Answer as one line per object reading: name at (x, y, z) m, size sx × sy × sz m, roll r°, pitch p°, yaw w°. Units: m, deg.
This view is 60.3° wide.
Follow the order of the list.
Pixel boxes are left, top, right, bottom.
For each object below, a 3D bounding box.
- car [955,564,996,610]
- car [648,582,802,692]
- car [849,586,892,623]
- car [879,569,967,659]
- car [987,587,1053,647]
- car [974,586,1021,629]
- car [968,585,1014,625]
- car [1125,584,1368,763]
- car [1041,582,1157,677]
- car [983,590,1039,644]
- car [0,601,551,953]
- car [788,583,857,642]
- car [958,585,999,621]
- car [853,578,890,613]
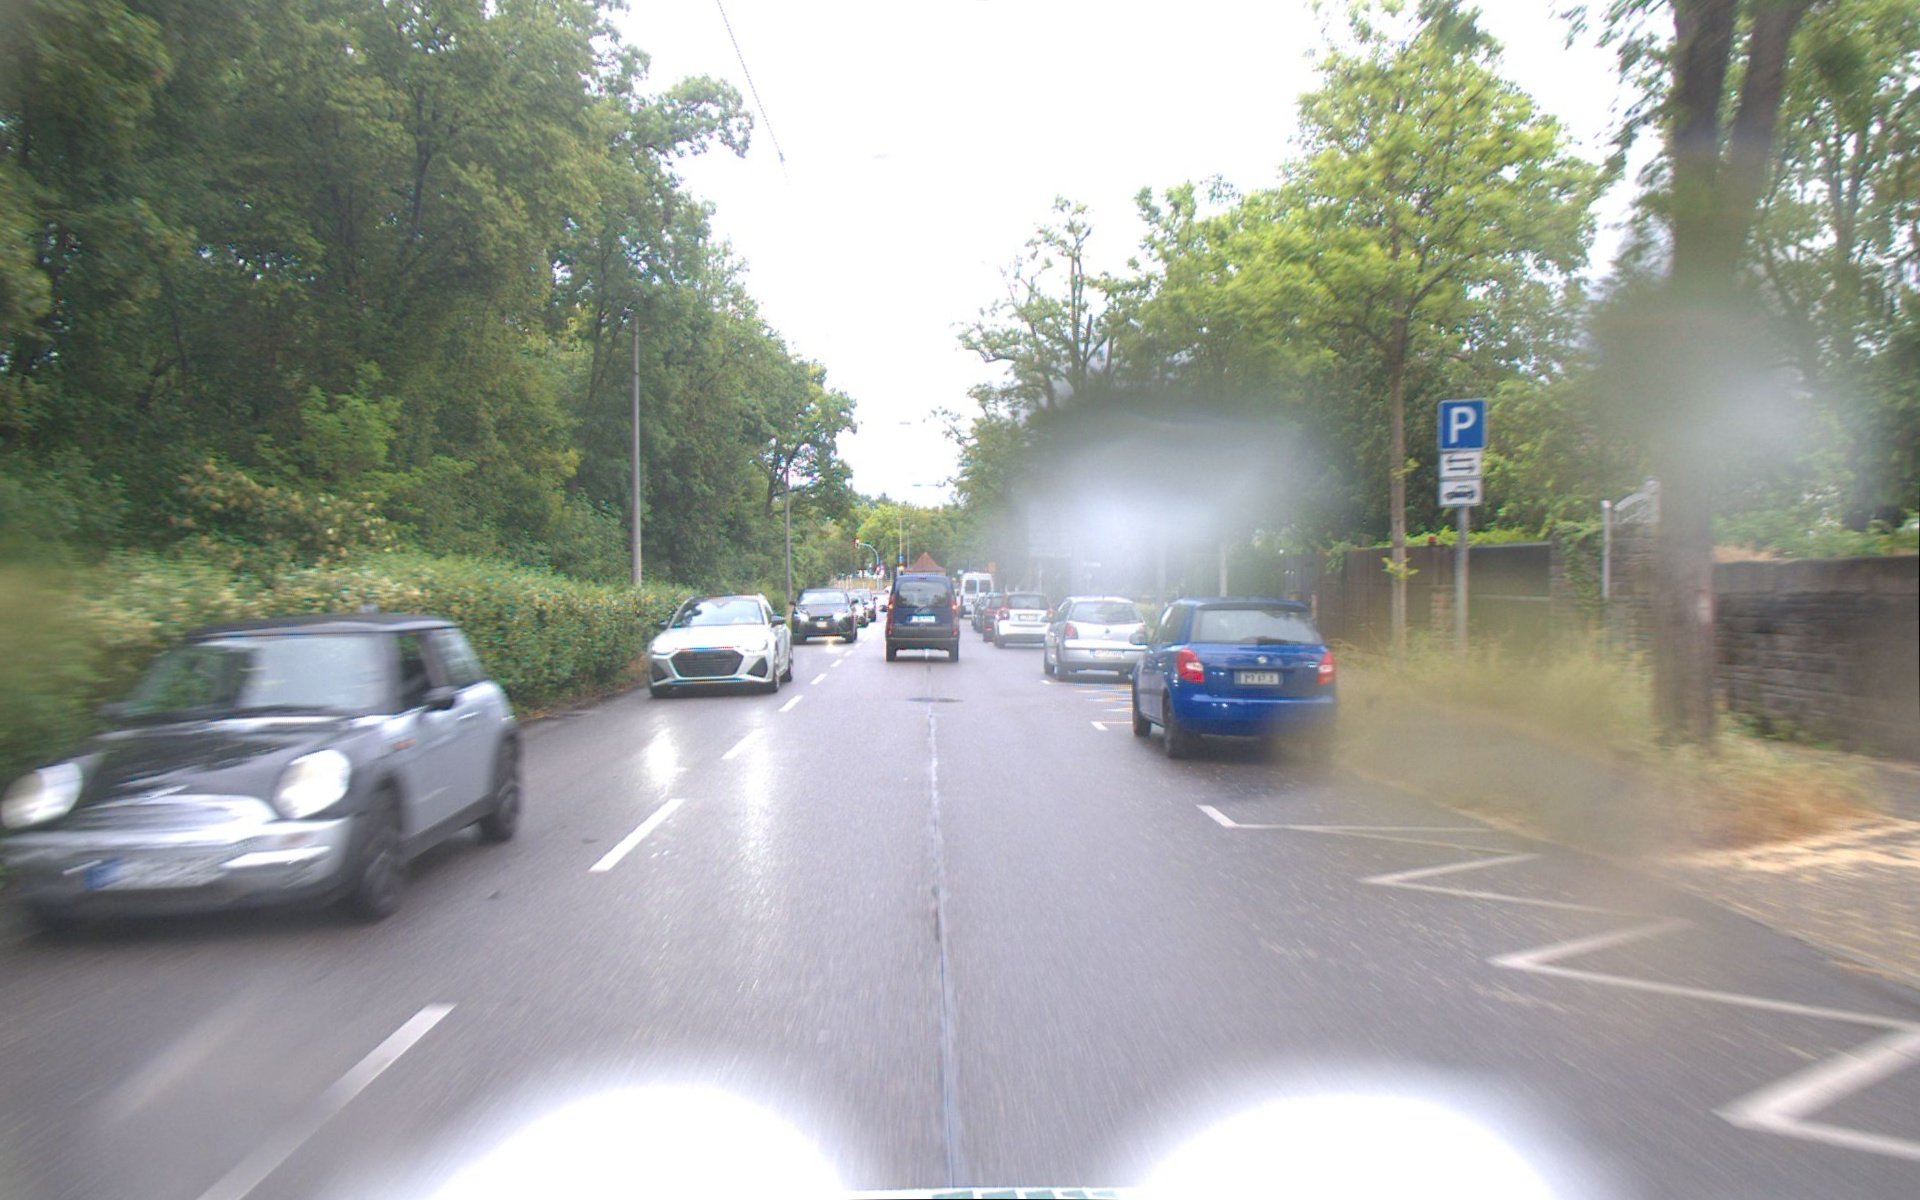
car at (0.829, -0.720, 93.688) m, size 2.160 × 2.492 × 4.728 m, roll 0°, pitch 0°, yaw -1°
car at (-3.648, 0.518, 26.387) m, size 1.818 × 1.494 × 4.446 m, roll -2°, pitch 1°, yaw -1°
car at (-3.903, 0.162, 72.880) m, size 1.694 × 1.468 × 5.111 m, roll -2°, pitch 1°, yaw -1°
car at (-0.856, 0.261, 36.517) m, size 1.732 × 1.862 × 3.539 m, roll 1°, pitch 1°, yaw -4°
car at (1.650, 0.450, 46.240) m, size 1.600 × 1.536 × 2.956 m, roll 1°, pitch 1°, yaw -3°
car at (1.410, 0.253, 63.424) m, size 1.663 × 1.551 × 4.210 m, roll 1°, pitch 1°, yaw -1°
car at (1.265, 0.186, 68.724) m, size 1.664 × 1.551 × 3.866 m, roll 1°, pitch 1°, yaw -2°
car at (2.769, 0.642, 16.852) m, size 1.686 × 1.532 × 4.050 m, roll 1°, pitch 1°, yaw -1°
car at (2.452, 0.485, 30.005) m, size 1.586 × 1.534 × 3.833 m, roll 1°, pitch 1°, yaw -3°
car at (1.583, 0.509, 51.902) m, size 1.663 × 1.551 × 3.868 m, roll 1°, pitch 1°, yaw 1°
car at (-3.490, 0.759, 8.927) m, size 1.652 × 1.379 × 3.723 m, roll -2°, pitch 1°, yaw -1°
car at (-4.118, 0.338, 50.110) m, size 1.767 × 1.574 × 4.431 m, roll -2°, pitch 1°, yaw -1°
car at (0.819, 0.123, 75.222) m, size 1.664 × 1.551 × 3.866 m, roll 1°, pitch 1°, yaw -2°
car at (-4.405, -0.230, 83.042) m, size 1.688 × 1.644 × 4.154 m, roll -1°, pitch 1°, yaw -1°
